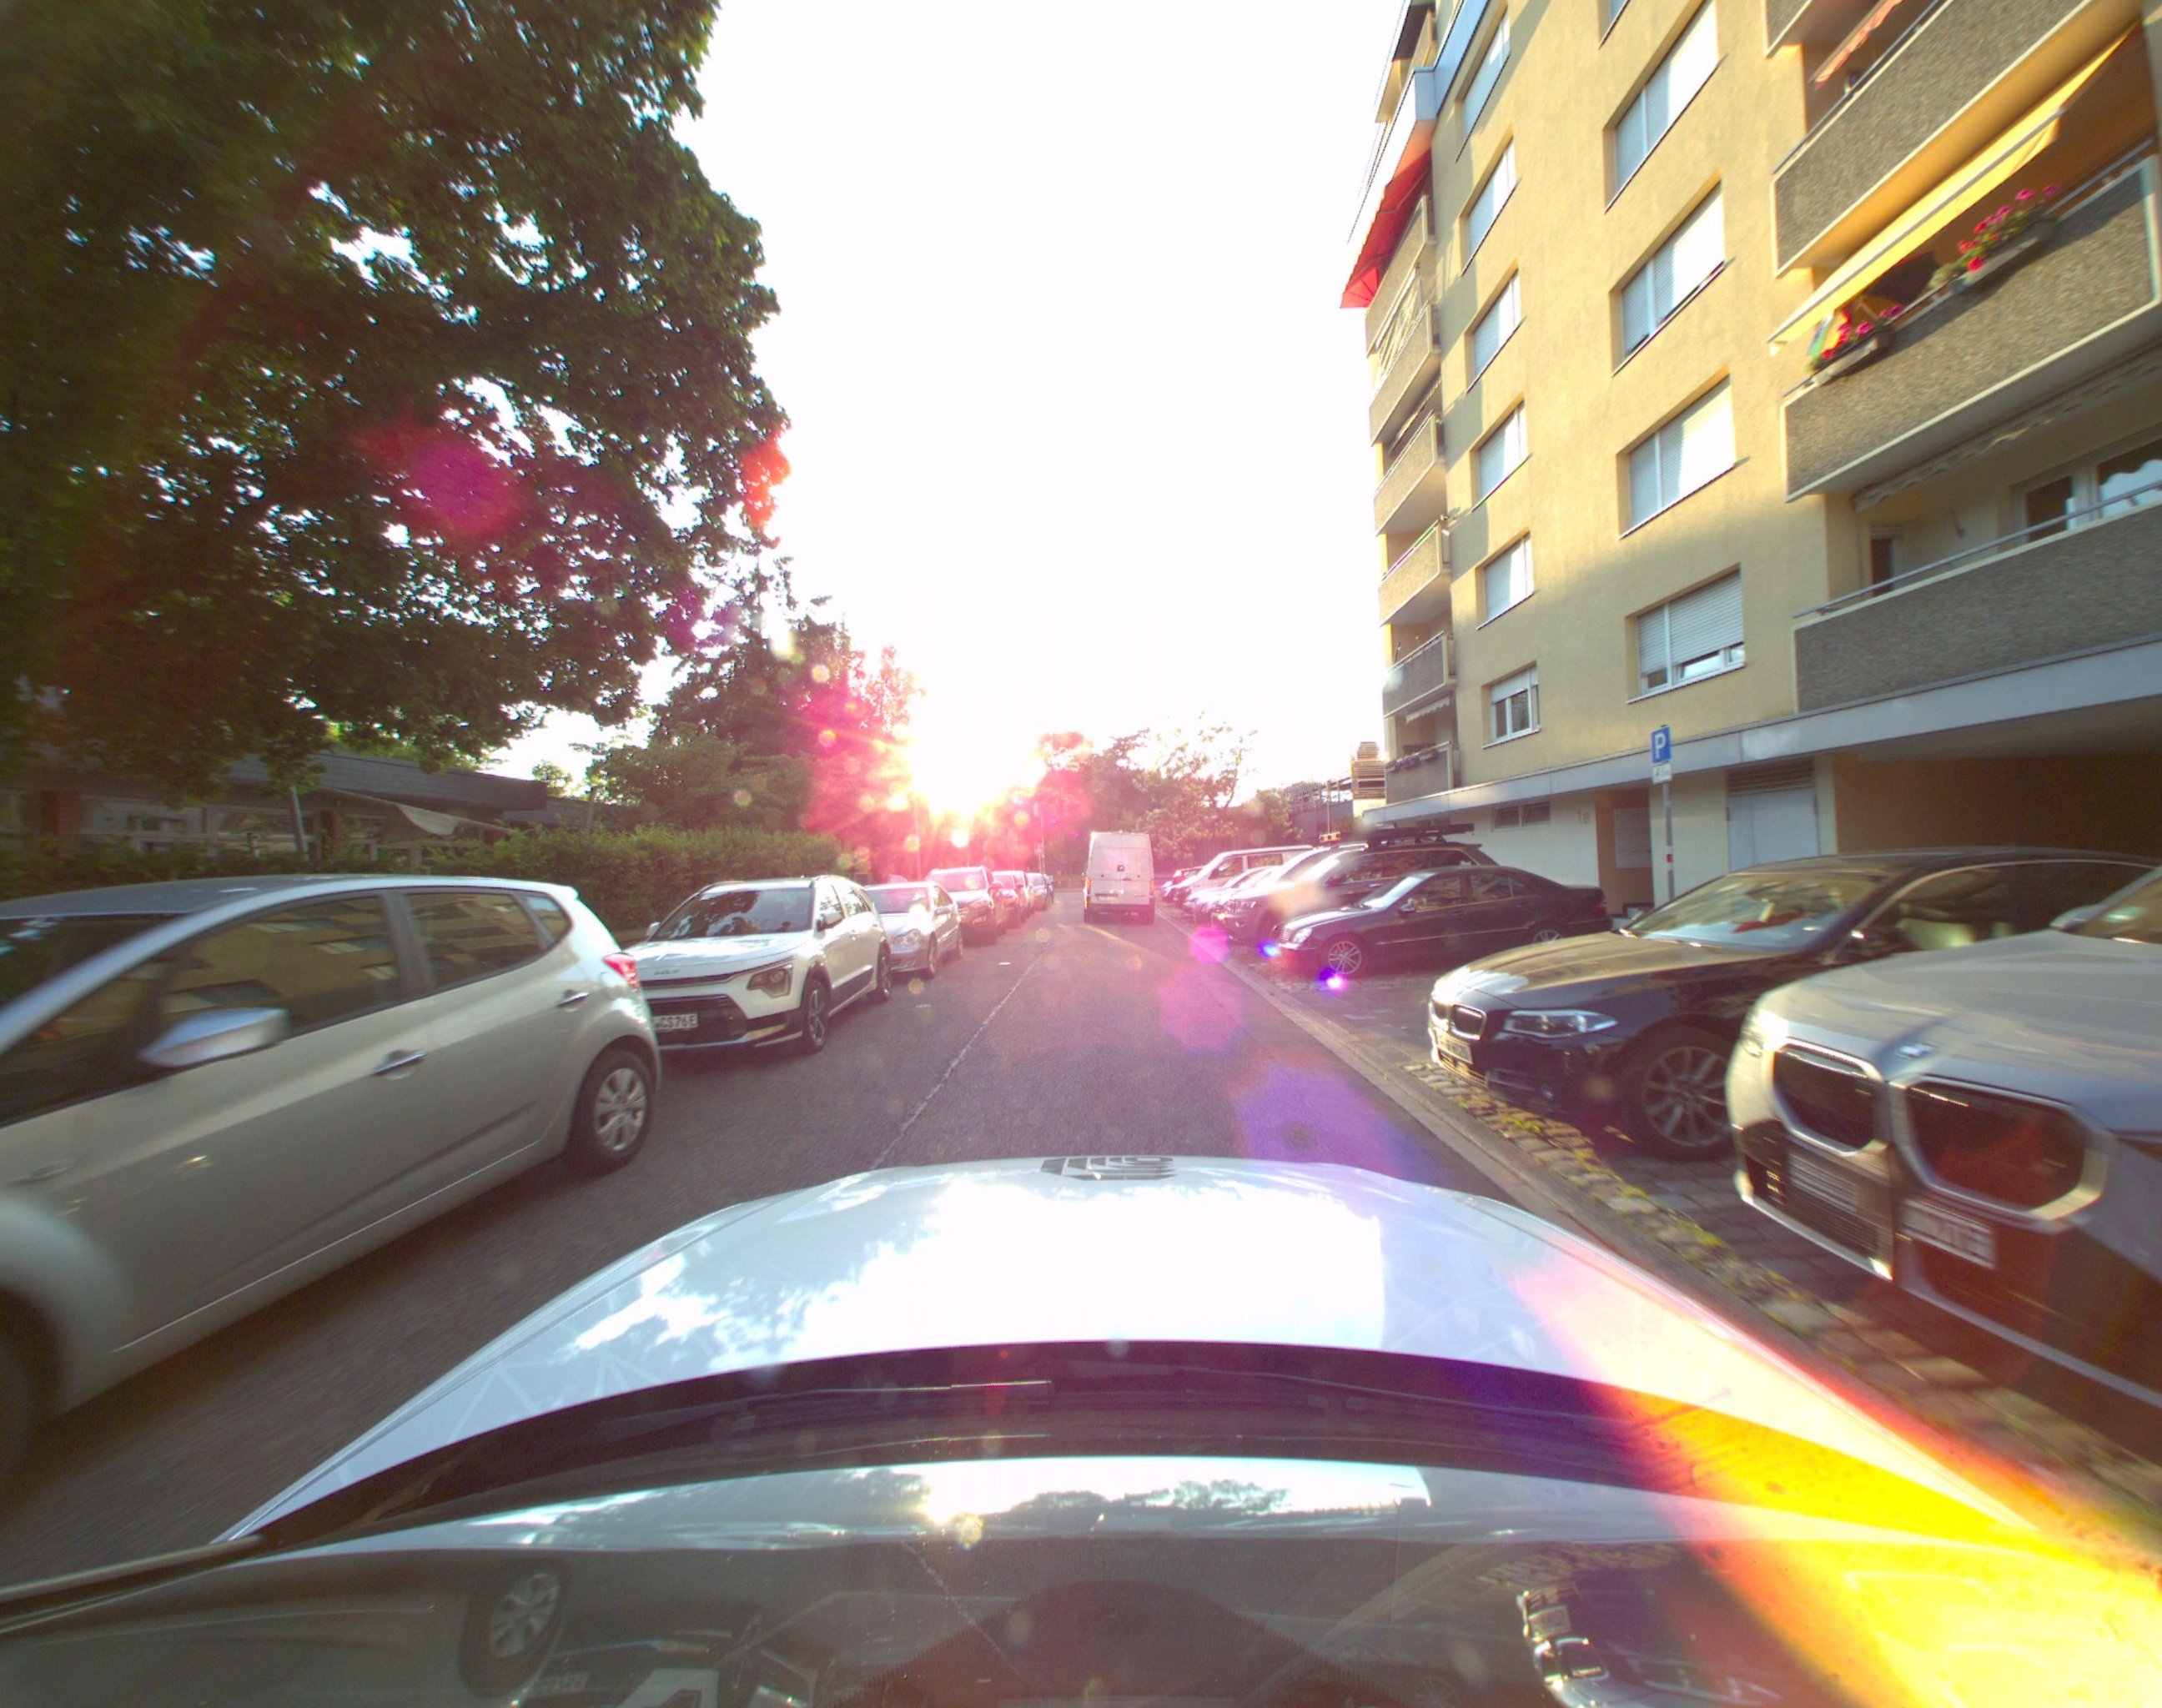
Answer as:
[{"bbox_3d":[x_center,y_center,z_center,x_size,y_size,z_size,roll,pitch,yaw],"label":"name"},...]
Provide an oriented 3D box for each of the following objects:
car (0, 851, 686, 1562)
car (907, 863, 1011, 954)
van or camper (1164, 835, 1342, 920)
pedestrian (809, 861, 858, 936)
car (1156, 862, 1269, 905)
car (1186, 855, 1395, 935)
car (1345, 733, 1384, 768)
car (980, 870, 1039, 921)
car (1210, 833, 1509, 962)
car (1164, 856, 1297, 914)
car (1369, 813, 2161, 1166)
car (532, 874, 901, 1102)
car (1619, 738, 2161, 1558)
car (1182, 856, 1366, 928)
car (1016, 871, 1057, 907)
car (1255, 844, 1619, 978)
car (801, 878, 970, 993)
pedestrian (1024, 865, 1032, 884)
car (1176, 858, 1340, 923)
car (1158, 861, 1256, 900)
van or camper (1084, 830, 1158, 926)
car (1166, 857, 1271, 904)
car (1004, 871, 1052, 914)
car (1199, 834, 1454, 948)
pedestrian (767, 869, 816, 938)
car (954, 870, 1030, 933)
[{"bbox_3d":[-3.337,0.868,2.892,1.727,1.631,3.982,-3,-1,2],"label":"car"},{"bbox_3d":[-2.648,1.136,18.610,1.728,1.730,4.320,-3,-1,-1],"label":"car"},{"bbox_3d":[5.432,0.757,26.235,5.118,2.167,2.039,-5,-2,-1],"label":"van or camper"},{"bbox_3d":[-5.872,1.037,19.314,0.754,1.732,0.891,3,-2,-44],"label":"pedestrian"},{"bbox_3d":[5.478,1.262,34.275,4.391,1.531,1.844,-3,-3,-1],"label":"car"},{"bbox_3d":[4.786,0.968,19.103,4.388,1.563,1.845,-3,-3,1],"label":"car"},{"bbox_3d":[21.349,-7.787,61.475,1.983,2.014,4.007,-1,-1,7],"label":"car"},{"bbox_3d":[-2.445,1.416,28.765,1.728,1.567,4.127,-3,-1,-1],"label":"car"},{"bbox_3d":[4.672,0.720,14.159,4.496,1.863,1.846,-3,-1,1],"label":"car"},{"bbox_3d":[5.261,1.120,29.048,4.313,1.661,1.780,-4,-3,-1],"label":"car"},{"bbox_3d":[4.342,0.677,5.036,4.394,1.554,1.843,-3,-3,-3],"label":"car"},{"bbox_3d":[-3.156,1.033,8.140,1.754,1.543,4.278,-3,-1,-1],"label":"car"},{"bbox_3d":[4.468,0.560,2.460,4.391,1.749,1.844,-3,-3,-1],"label":"car"},{"bbox_3d":[5.002,1.012,21.540,4.388,1.593,1.845,-3,-3,1],"label":"car"},{"bbox_3d":[-2.072,1.629,39.018,1.728,1.567,3.788,-3,-1,-1],"label":"car"},{"bbox_3d":[4.898,0.804,11.762,4.385,1.554,1.847,-3,-3,3],"label":"car"},{"bbox_3d":[-2.977,1.182,13.332,1.728,1.427,4.284,-3,-1,-1],"label":"car"},{"bbox_3d":[-4.638,1.809,71.043,0.644,1.649,0.674,0,-1,1],"label":"pedestrian"},{"bbox_3d":[5.103,1.080,23.991,4.388,1.631,1.845,-3,-3,1],"label":"car"},{"bbox_3d":[6.081,1.317,39.533,4.391,1.631,1.844,-3,-3,-1],"label":"car"},{"bbox_3d":[1.194,0.713,25.576,1.986,2.618,6.404,-1,-1,2],"label":"van or camper"},{"bbox_3d":[6.182,1.184,36.967,4.385,1.631,1.847,-6,-2,3],"label":"car"},{"bbox_3d":[-2.121,1.522,33.467,1.728,1.567,3.695,-3,-1,-1],"label":"car"},{"bbox_3d":[4.902,0.761,16.803,4.620,1.981,1.845,-3,-3,1],"label":"car"},{"bbox_3d":[-6.588,1.107,18.601,0.745,1.508,0.901,1,-1,0],"label":"pedestrian"},{"bbox_3d":[-2.484,1.301,23.646,1.728,1.567,4.165,-3,-1,-1],"label":"car"}]
